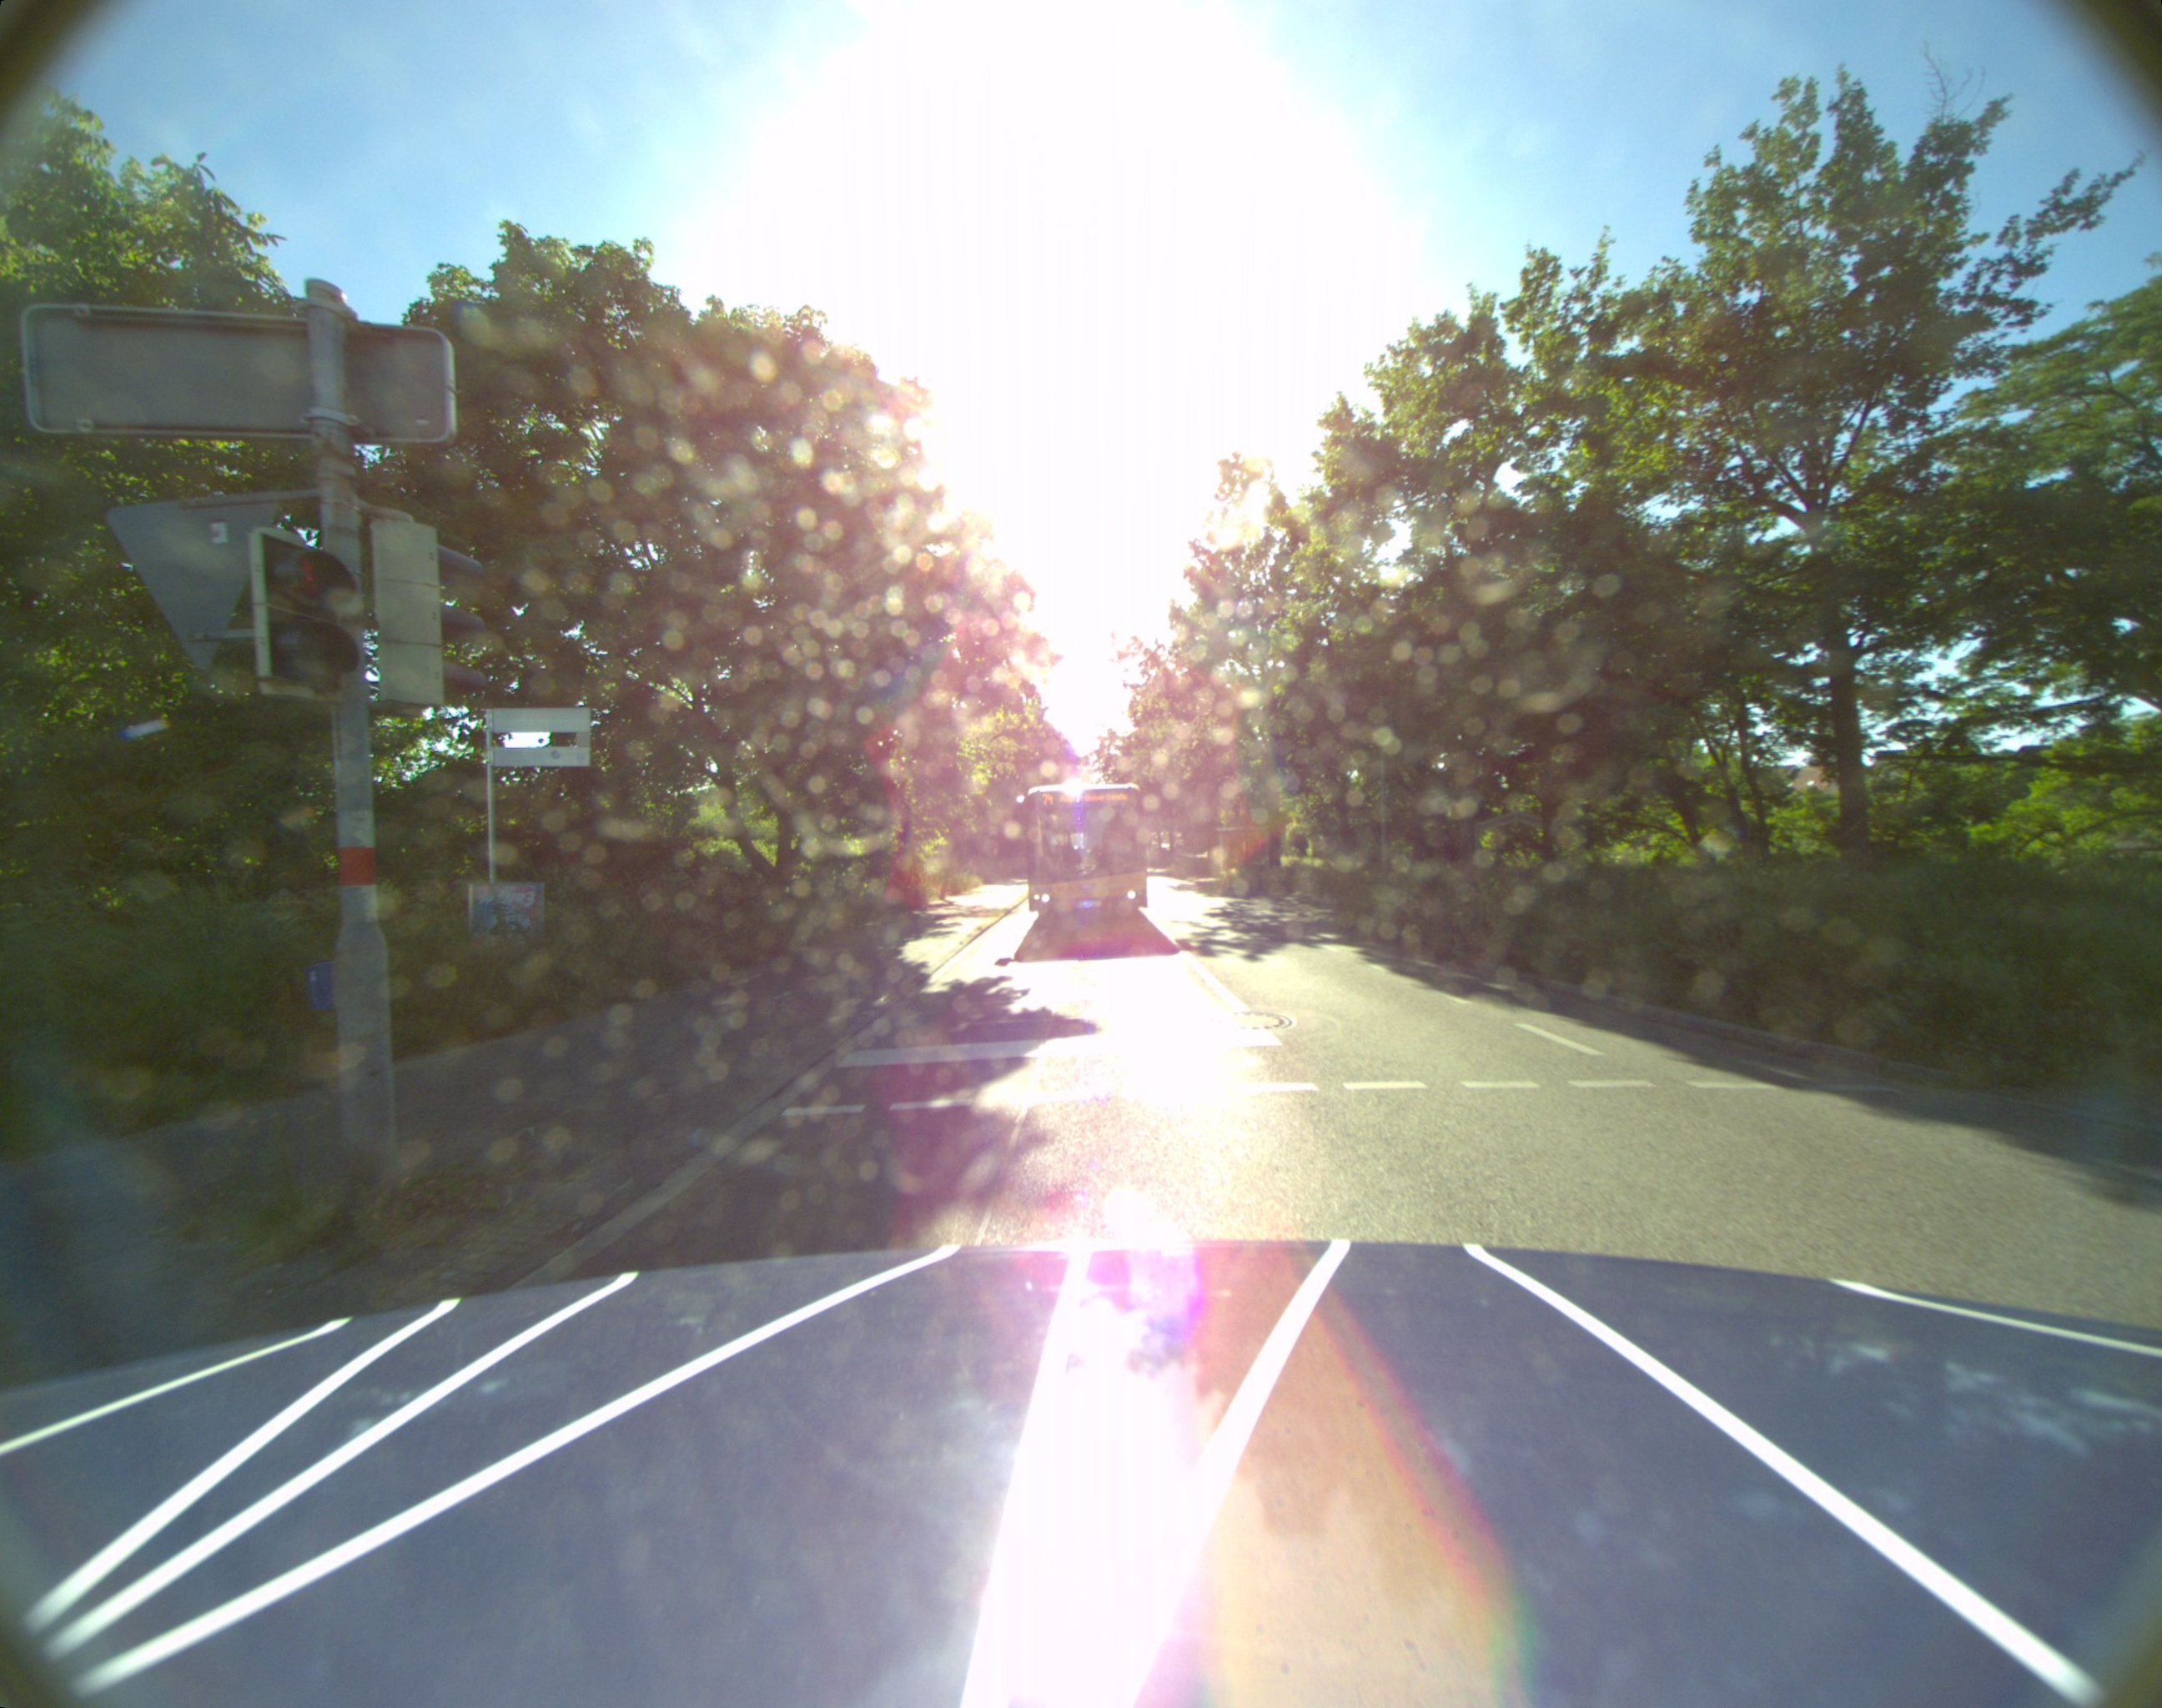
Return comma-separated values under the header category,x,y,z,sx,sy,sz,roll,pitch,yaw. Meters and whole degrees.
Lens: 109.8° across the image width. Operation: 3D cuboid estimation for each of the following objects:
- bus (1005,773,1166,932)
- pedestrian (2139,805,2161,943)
category,x,y,z,sx,sy,sz,roll,pitch,yaw
bus,0.217,-0.075,21.793,3.128,3.080,12.478,-3,0,1
pedestrian,13.070,0.216,8.754,0.800,1.624,0.647,-3,1,1
